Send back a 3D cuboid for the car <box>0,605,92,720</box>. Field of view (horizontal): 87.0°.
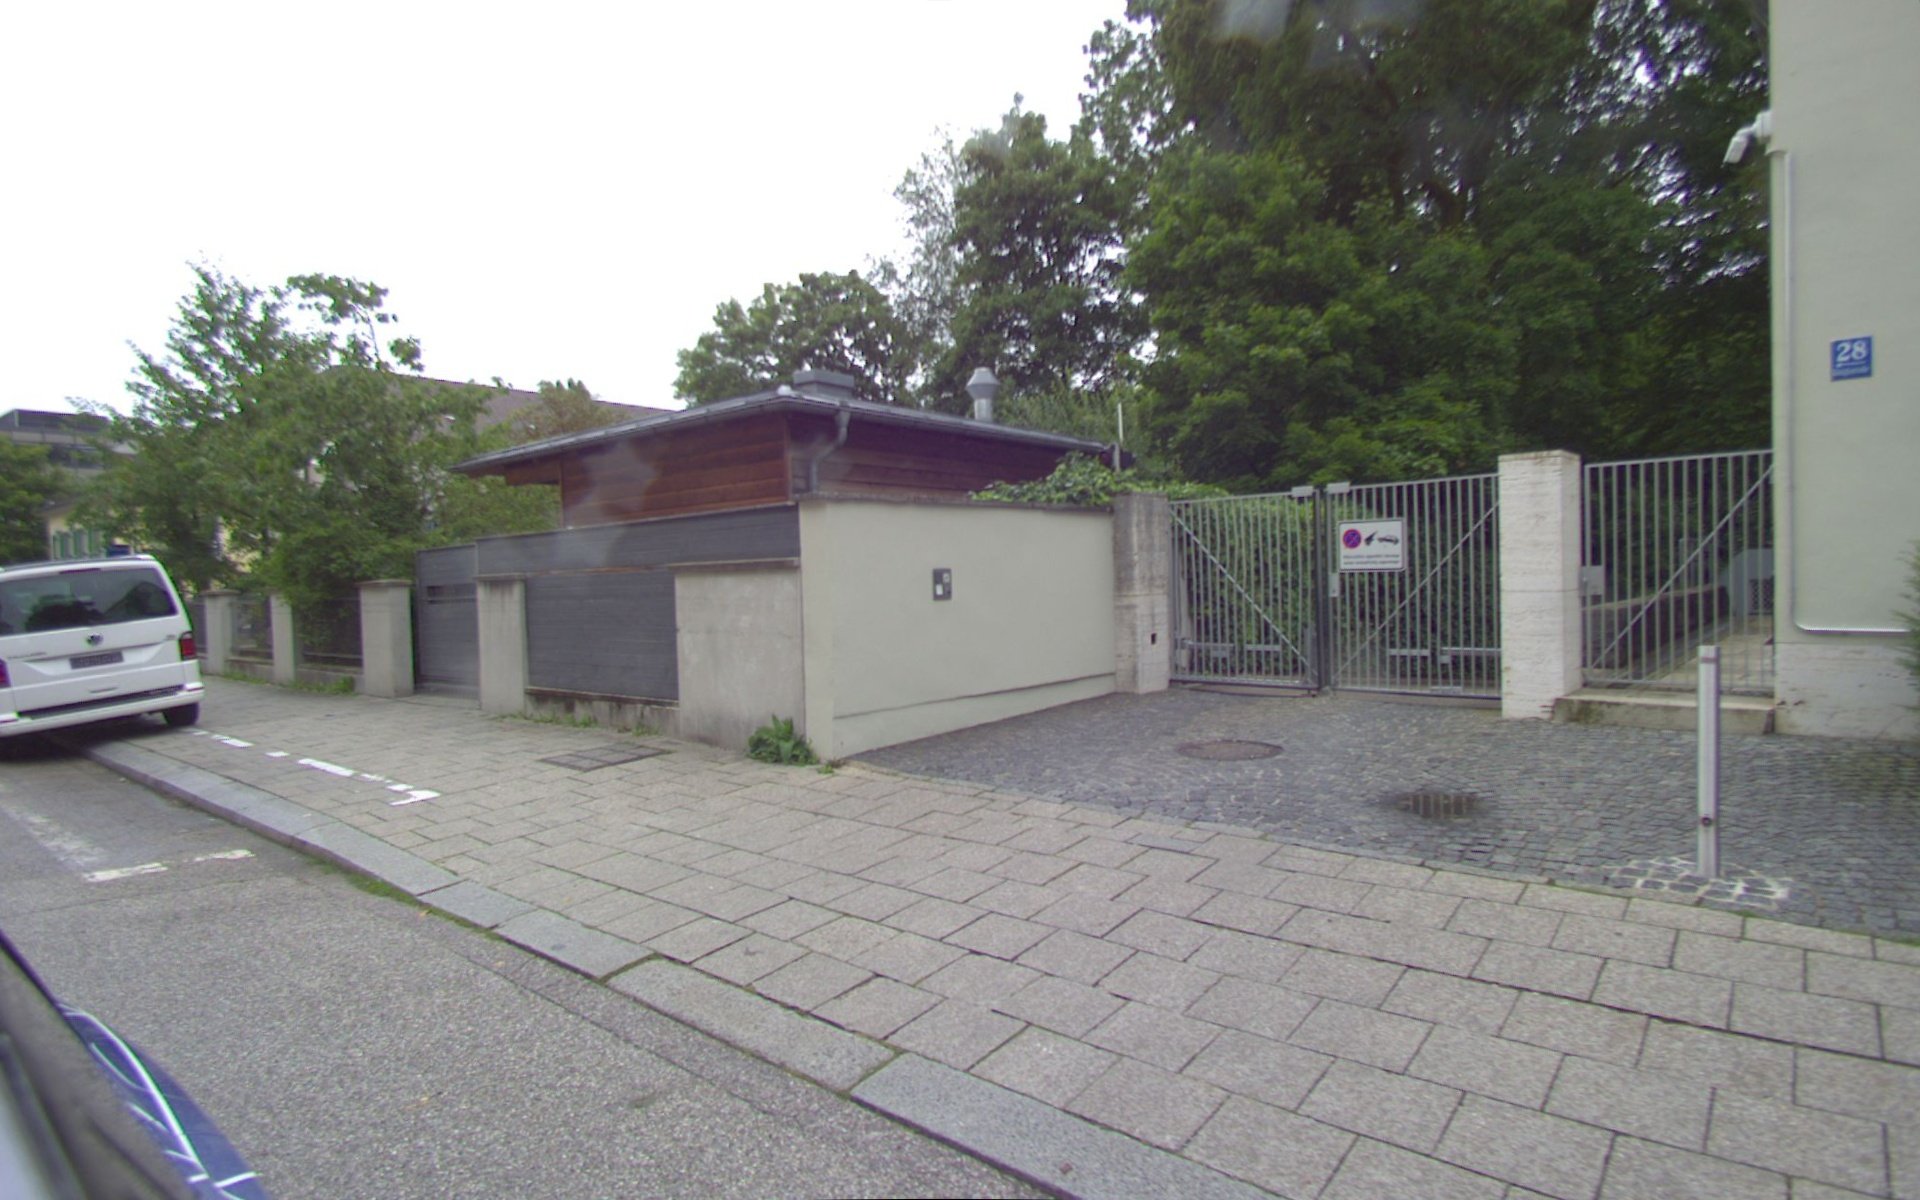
[{"bbox_3d":[-15.257,0.934,15.627,4.689,1.555,1.870,-1,1,38],"label":"car"}]

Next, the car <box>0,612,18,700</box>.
[{"bbox_3d":[-19.124,1.030,18.930,4.186,1.556,1.839,-1,0,42],"label":"car"}]

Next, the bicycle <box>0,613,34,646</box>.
[{"bbox_3d":[-35.854,1.126,37.886,0.352,1.180,1.685,-1,1,38],"label":"bicycle"}]

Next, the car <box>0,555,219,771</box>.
[{"bbox_3d":[-10.695,0.612,11.784,5.145,2.005,1.948,-1,3,38],"label":"car"}]
